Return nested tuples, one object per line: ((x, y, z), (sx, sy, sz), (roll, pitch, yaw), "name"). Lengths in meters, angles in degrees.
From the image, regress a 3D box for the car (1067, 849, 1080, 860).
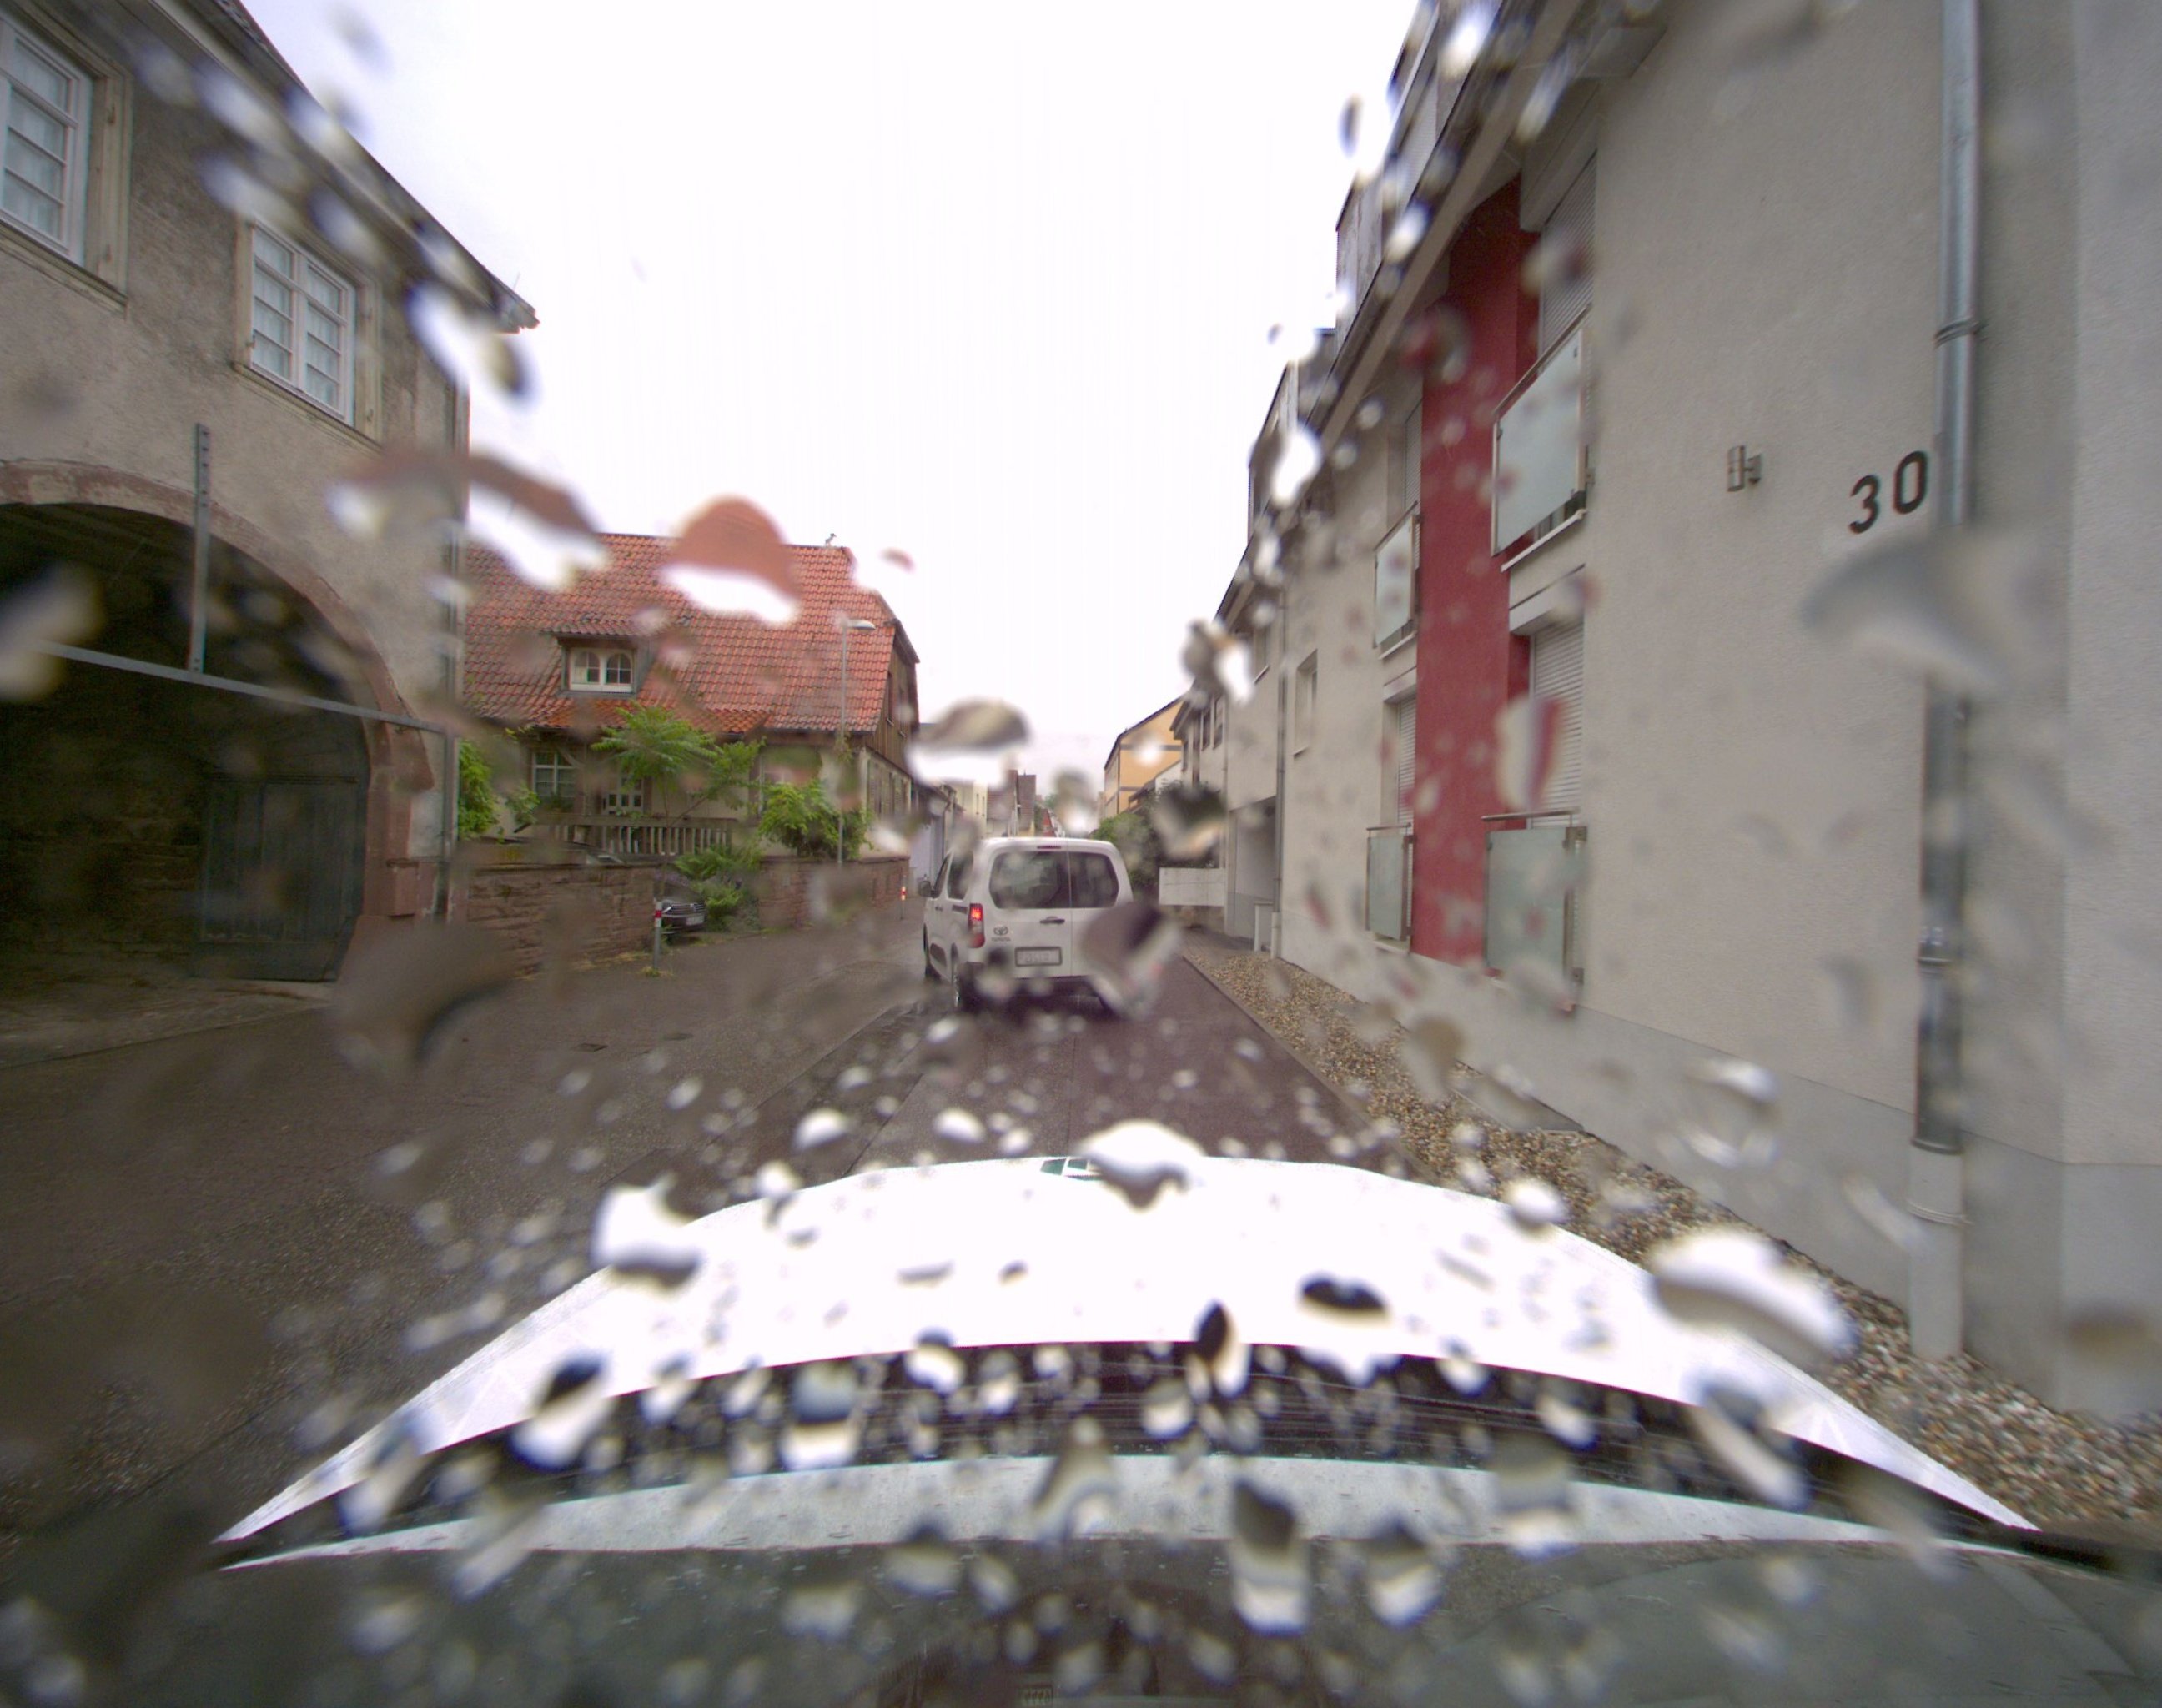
((-1.241, 0.094, 135.805), (1.986, 1.559, 3.433), (-2, 2, 1), "car")

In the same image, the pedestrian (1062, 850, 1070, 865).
((-1.853, 0.459, 100.259), (1.048, 1.893, 0.876), (0, -1, -3), "pedestrian")

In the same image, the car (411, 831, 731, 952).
((-8.044, 0.562, 13.057), (3.968, 1.425, 1.738), (6, 0, 5), "car")

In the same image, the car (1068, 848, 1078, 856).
((-1.522, -0.367, 155.776), (1.581, 1.441, 3.771), (2, 0, 5), "car")

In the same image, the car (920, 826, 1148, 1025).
((-0.777, 0.656, 9.472), (1.779, 1.780, 3.977), (0, 0, -17), "car")

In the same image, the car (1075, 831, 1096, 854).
((0.443, -1.062, 75.977), (1.986, 2.014, 4.000), (0, 0, 1), "car")
